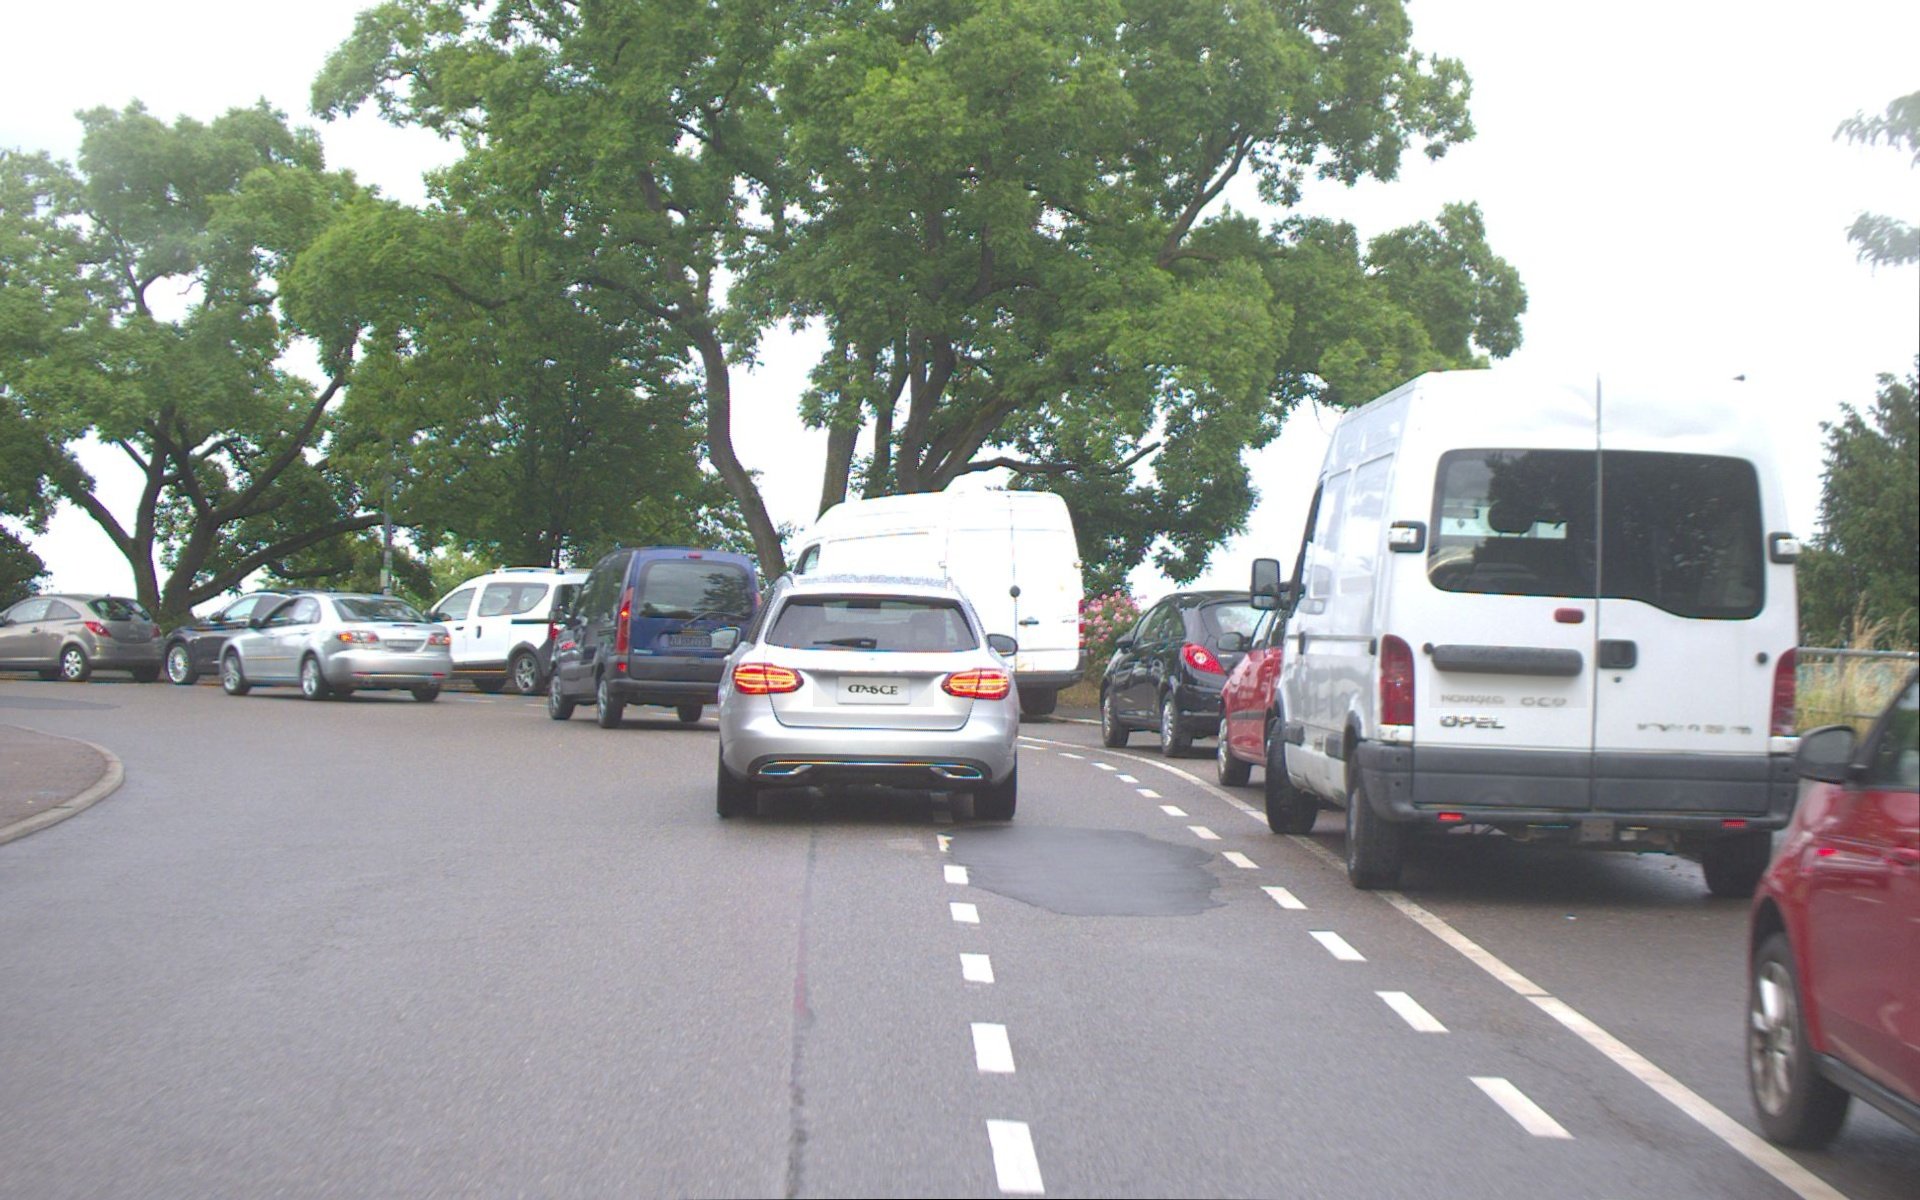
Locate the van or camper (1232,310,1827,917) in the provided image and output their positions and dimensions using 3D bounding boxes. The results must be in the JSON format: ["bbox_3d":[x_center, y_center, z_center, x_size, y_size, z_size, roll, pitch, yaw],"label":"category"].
[{"bbox_3d":[2.765,0.026,18.150,2.074,2.652,5.596,2,1,-1],"label":"van or camper"}]

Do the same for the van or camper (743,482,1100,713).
[{"bbox_3d":[-0.583,-0.056,41.390,2.066,2.572,5.889,0,1,-25],"label":"van or camper"}]

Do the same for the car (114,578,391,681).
[{"bbox_3d":[-11.311,0.439,54.759,4.891,1.537,1.861,1,1,44],"label":"car"}]

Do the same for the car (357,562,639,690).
[{"bbox_3d":[-6.876,0.352,50.919,4.420,1.815,1.748,1,1,44],"label":"car"}]

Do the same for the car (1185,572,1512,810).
[{"bbox_3d":[2.671,0.577,24.488,1.620,1.535,4.216,0,1,-3],"label":"car"}]

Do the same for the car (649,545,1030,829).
[{"bbox_3d":[-0.868,0.473,21.558,1.982,1.548,4.299,2,0,-7],"label":"car"}]

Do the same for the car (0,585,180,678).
[{"bbox_3d":[-15.311,0.503,58.315,4.130,1.498,1.736,1,1,36],"label":"car"}]

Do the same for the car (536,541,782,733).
[{"bbox_3d":[-3.198,0.342,35.840,1.823,1.876,4.096,0,1,-16],"label":"car"}]

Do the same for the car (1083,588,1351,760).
[{"bbox_3d":[2.262,0.626,31.220,1.695,1.439,3.948,0,1,-7],"label":"car"}]

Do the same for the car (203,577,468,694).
[{"bbox_3d":[-8.316,0.438,45.559,1.854,1.453,4.094,0,1,-36],"label":"car"}]

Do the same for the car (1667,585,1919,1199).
[{"bbox_3d":[2.985,0.768,8.242,1.682,1.534,3.833,1,1,-1],"label":"car"}]
